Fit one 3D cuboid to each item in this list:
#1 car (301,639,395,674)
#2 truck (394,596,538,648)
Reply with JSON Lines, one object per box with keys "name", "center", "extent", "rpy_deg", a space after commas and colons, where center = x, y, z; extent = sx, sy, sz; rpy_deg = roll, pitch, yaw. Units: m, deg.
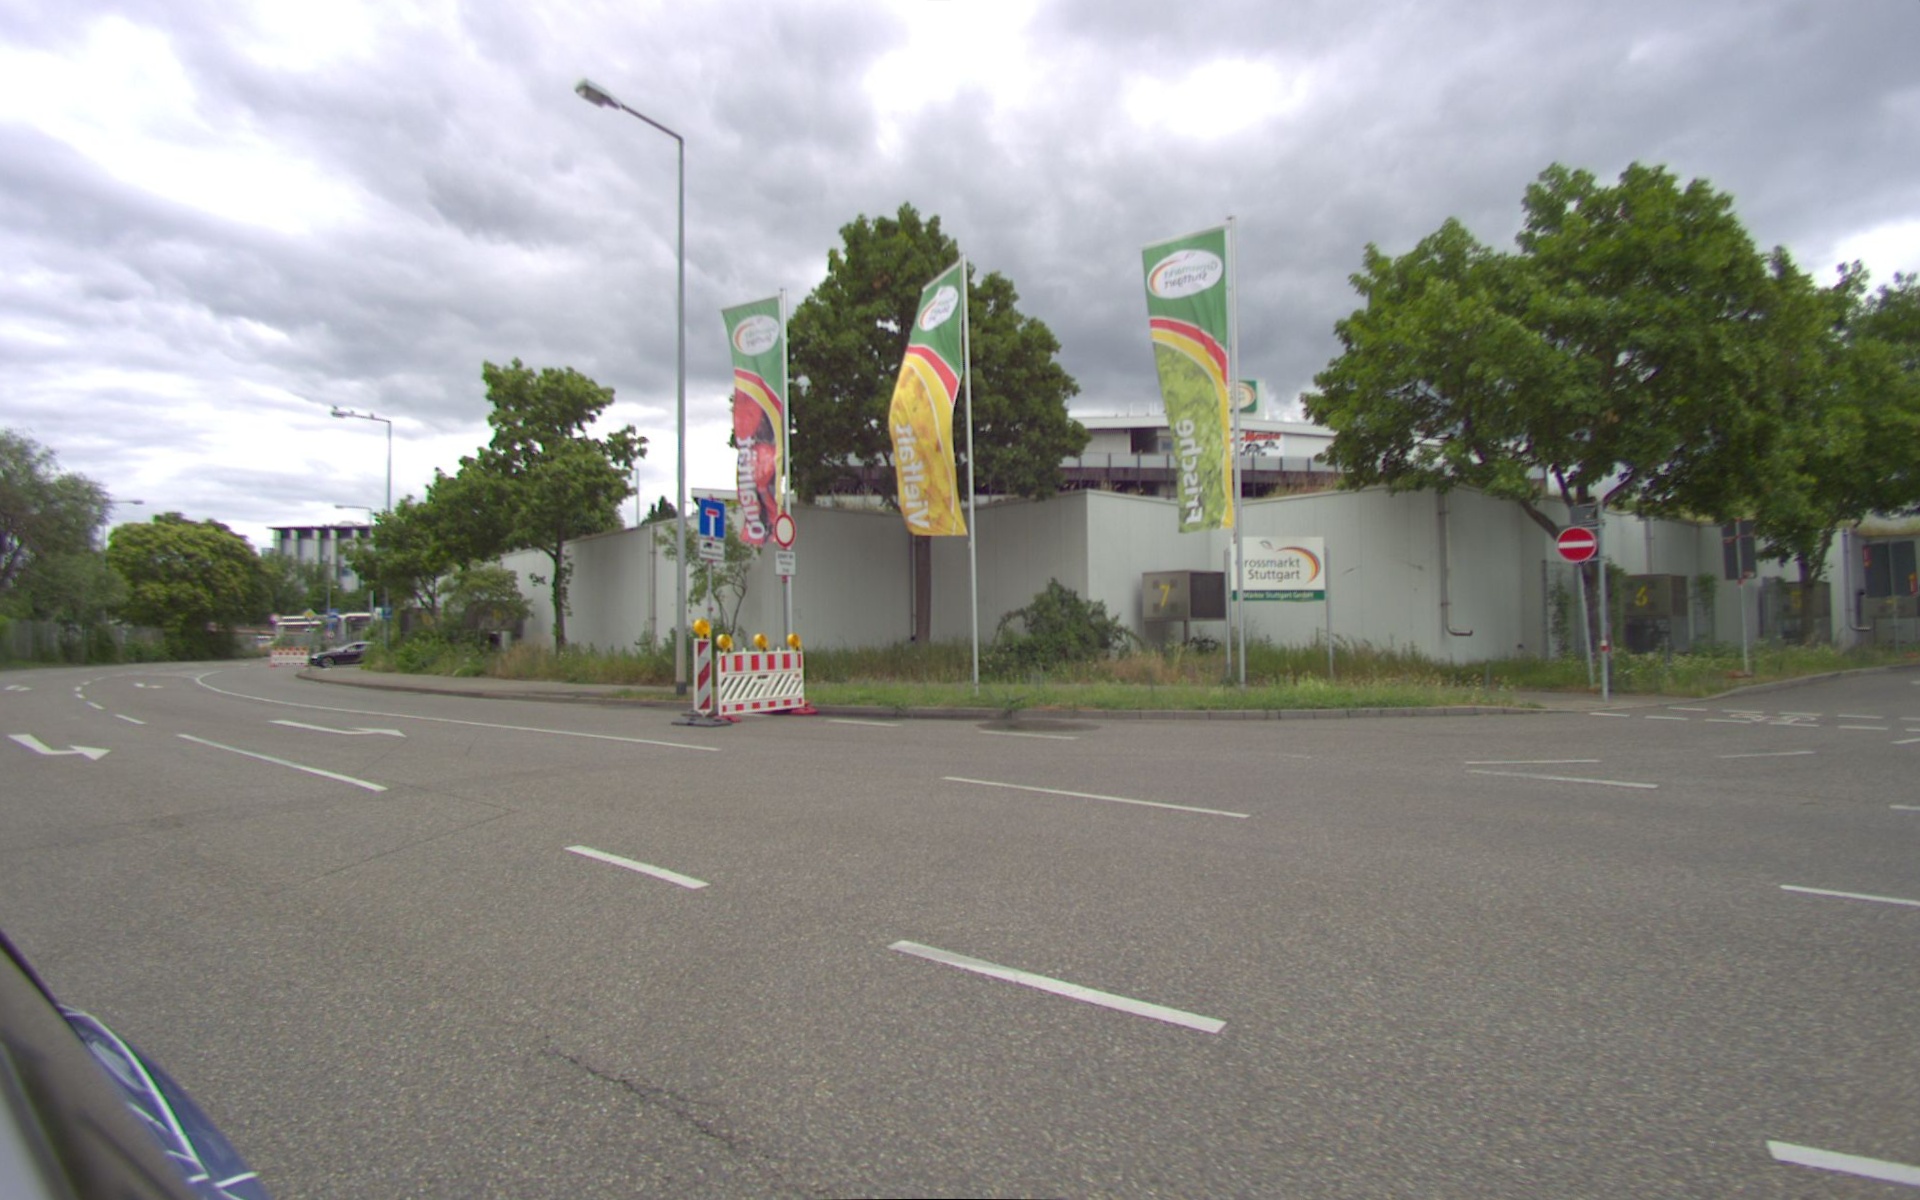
{"name": "car", "center": [-35.656, 3.257, 59.022], "extent": [4.547, 1.823, 2.004], "rpy_deg": [-1, -2, -36]}
{"name": "truck", "center": [-36.129, 1.671, 74.221], "extent": [9.125, 3.623, 2.939], "rpy_deg": [1, -3, -35]}
